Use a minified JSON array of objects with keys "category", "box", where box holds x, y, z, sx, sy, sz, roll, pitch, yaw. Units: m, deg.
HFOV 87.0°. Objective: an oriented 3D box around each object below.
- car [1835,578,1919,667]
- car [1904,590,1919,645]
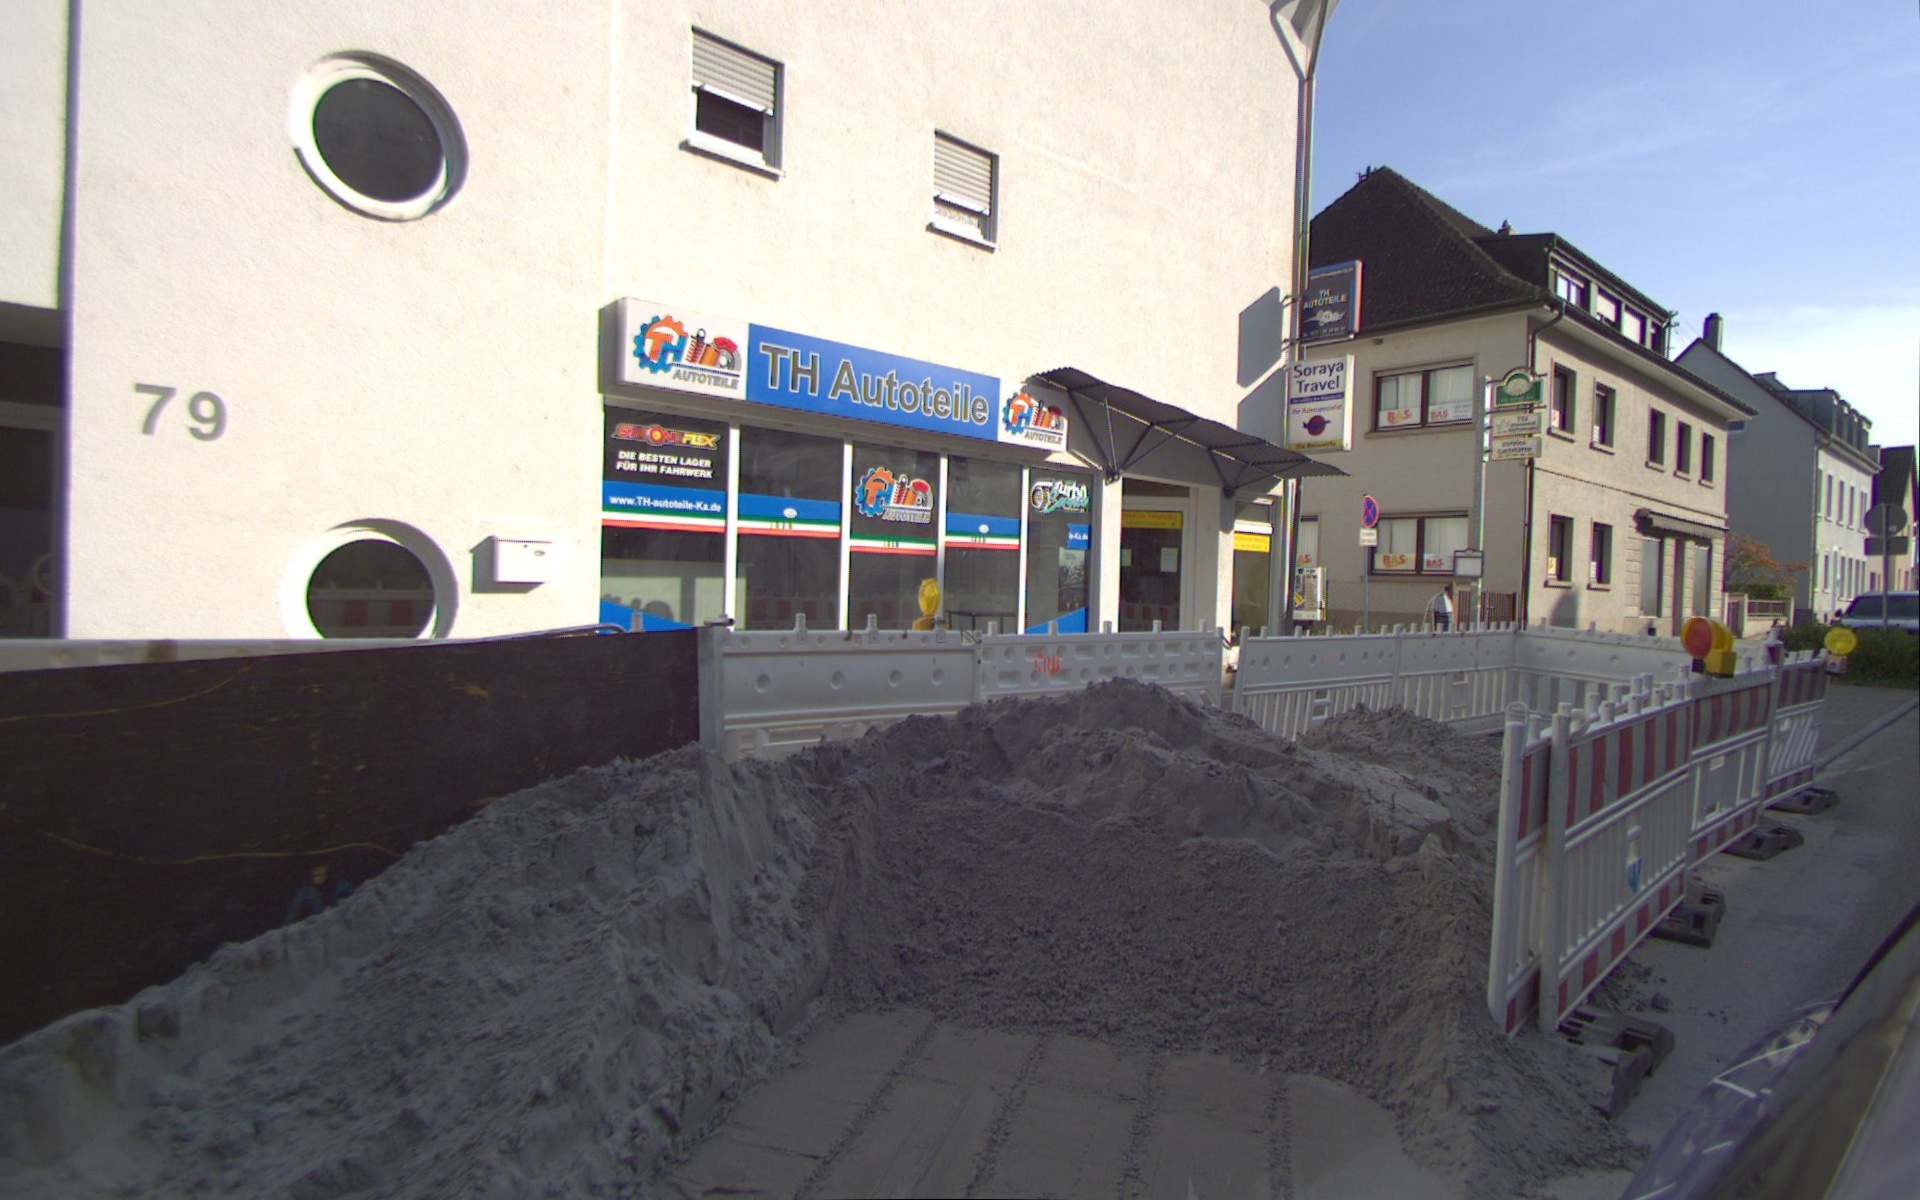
[{"category":"car","box":[19.455,0.420,20.627,4.385,1.650,1.833,0,2,-41]},{"category":"car","box":[27.237,0.483,27.529,4.529,1.437,1.833,0,2,-42]}]
